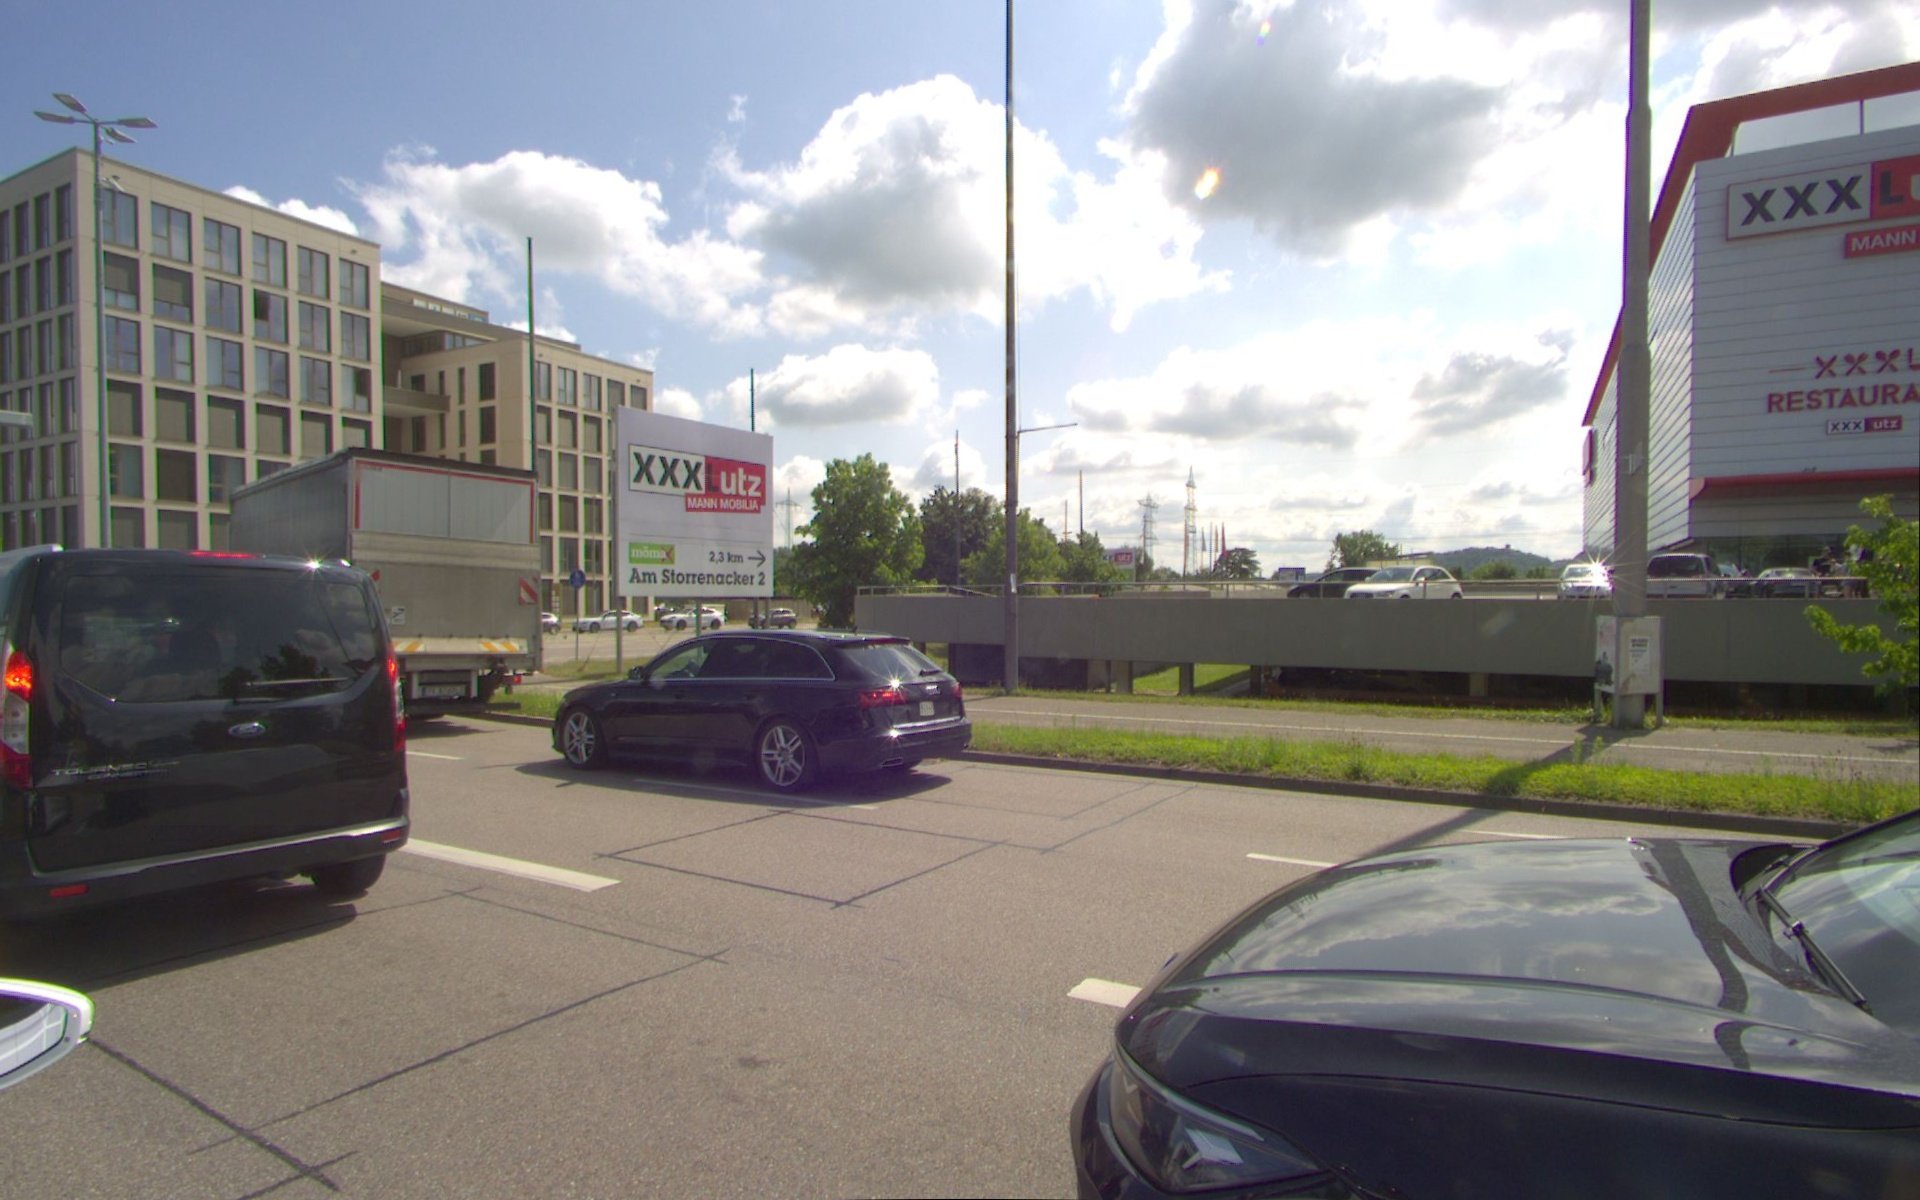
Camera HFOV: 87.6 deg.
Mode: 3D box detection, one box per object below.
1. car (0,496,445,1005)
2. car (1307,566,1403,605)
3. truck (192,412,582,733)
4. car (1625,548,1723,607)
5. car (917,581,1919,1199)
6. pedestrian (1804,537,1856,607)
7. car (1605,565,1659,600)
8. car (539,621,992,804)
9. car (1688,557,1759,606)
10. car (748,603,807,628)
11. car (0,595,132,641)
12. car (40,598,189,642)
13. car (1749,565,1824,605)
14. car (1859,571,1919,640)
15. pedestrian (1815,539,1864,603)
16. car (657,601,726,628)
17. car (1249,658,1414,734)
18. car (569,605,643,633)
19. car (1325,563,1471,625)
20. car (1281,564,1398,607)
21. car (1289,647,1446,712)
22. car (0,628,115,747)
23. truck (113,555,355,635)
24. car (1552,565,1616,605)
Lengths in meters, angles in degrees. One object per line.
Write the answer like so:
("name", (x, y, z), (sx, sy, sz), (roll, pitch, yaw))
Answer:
("car", (-4.839, 0.609, 5.585), (3.944, 1.929, 1.819), (-1, -1, 34))
("car", (19.660, -0.699, 49.883), (4.352, 1.808, 1.948), (-1, -1, 26))
("truck", (-10.061, -0.192, 16.968), (8.973, 4.078, 3.196), (-2, -2, 43))
("car", (22.114, -0.631, 31.161), (1.925, 1.626, 4.406), (0, -1, 28))
("car", (2.574, 0.732, 0.970), (5.129, 1.497, 1.805), (-1, -1, 32))
("pedestrian", (26.072, -0.814, 30.012), (0.694, 2.039, 0.910), (0, -1, -13))
("car", (35.059, -0.869, 52.348), (1.925, 1.626, 4.406), (0, -1, 28))
("car", (-2.093, 0.961, 10.176), (4.613, 1.497, 1.770), (-1, -1, 33))
("car", (31.804, -0.721, 41.821), (1.888, 1.772, 3.982), (-1, -2, 31))
("car", (-14.493, 1.256, 79.720), (1.809, 1.861, 4.408), (-2, -2, 43))
("car", (-39.239, 0.823, 43.267), (1.967, 1.861, 4.978), (-1, -2, 25))
("car", (-33.582, 0.832, 39.909), (1.798, 1.647, 4.200), (-1, -2, 25))
("car", (33.931, -0.566, 41.234), (1.536, 1.490, 4.406), (0, -1, 28))
("car", (26.154, 0.190, 27.369), (1.892, 1.772, 4.163), (-1, -2, 36))
("pedestrian", (25.537, -0.821, 29.086), (0.694, 1.765, 1.019), (-1, -1, 18))
("car", (-19.840, 1.111, 74.082), (1.809, 1.861, 4.675), (-2, -2, 43))
("car", (9.983, 2.516, 26.897), (3.938, 1.772, 1.992), (-1, -1, 29))
("car", (-24.261, 1.320, 68.825), (1.802, 1.861, 4.701), (-1, -2, 33))
("car", (12.438, -0.111, 28.371), (4.109, 1.606, 1.871), (1, -2, -33))
("car", (15.545, -0.570, 41.002), (4.352, 1.626, 1.948), (-1, -1, 26))
("car", (12.483, 2.389, 30.720), (4.296, 1.772, 1.992), (-1, -1, 29))
("car", (-15.518, 1.505, 16.336), (4.173, 1.674, 1.852), (-9, -6, 38))
("truck", (-35.861, -0.073, 50.129), (2.632, 3.600, 9.755), (-1, -2, 25))
("car", (25.398, -0.564, 40.883), (1.925, 1.490, 4.406), (0, -1, 28))
